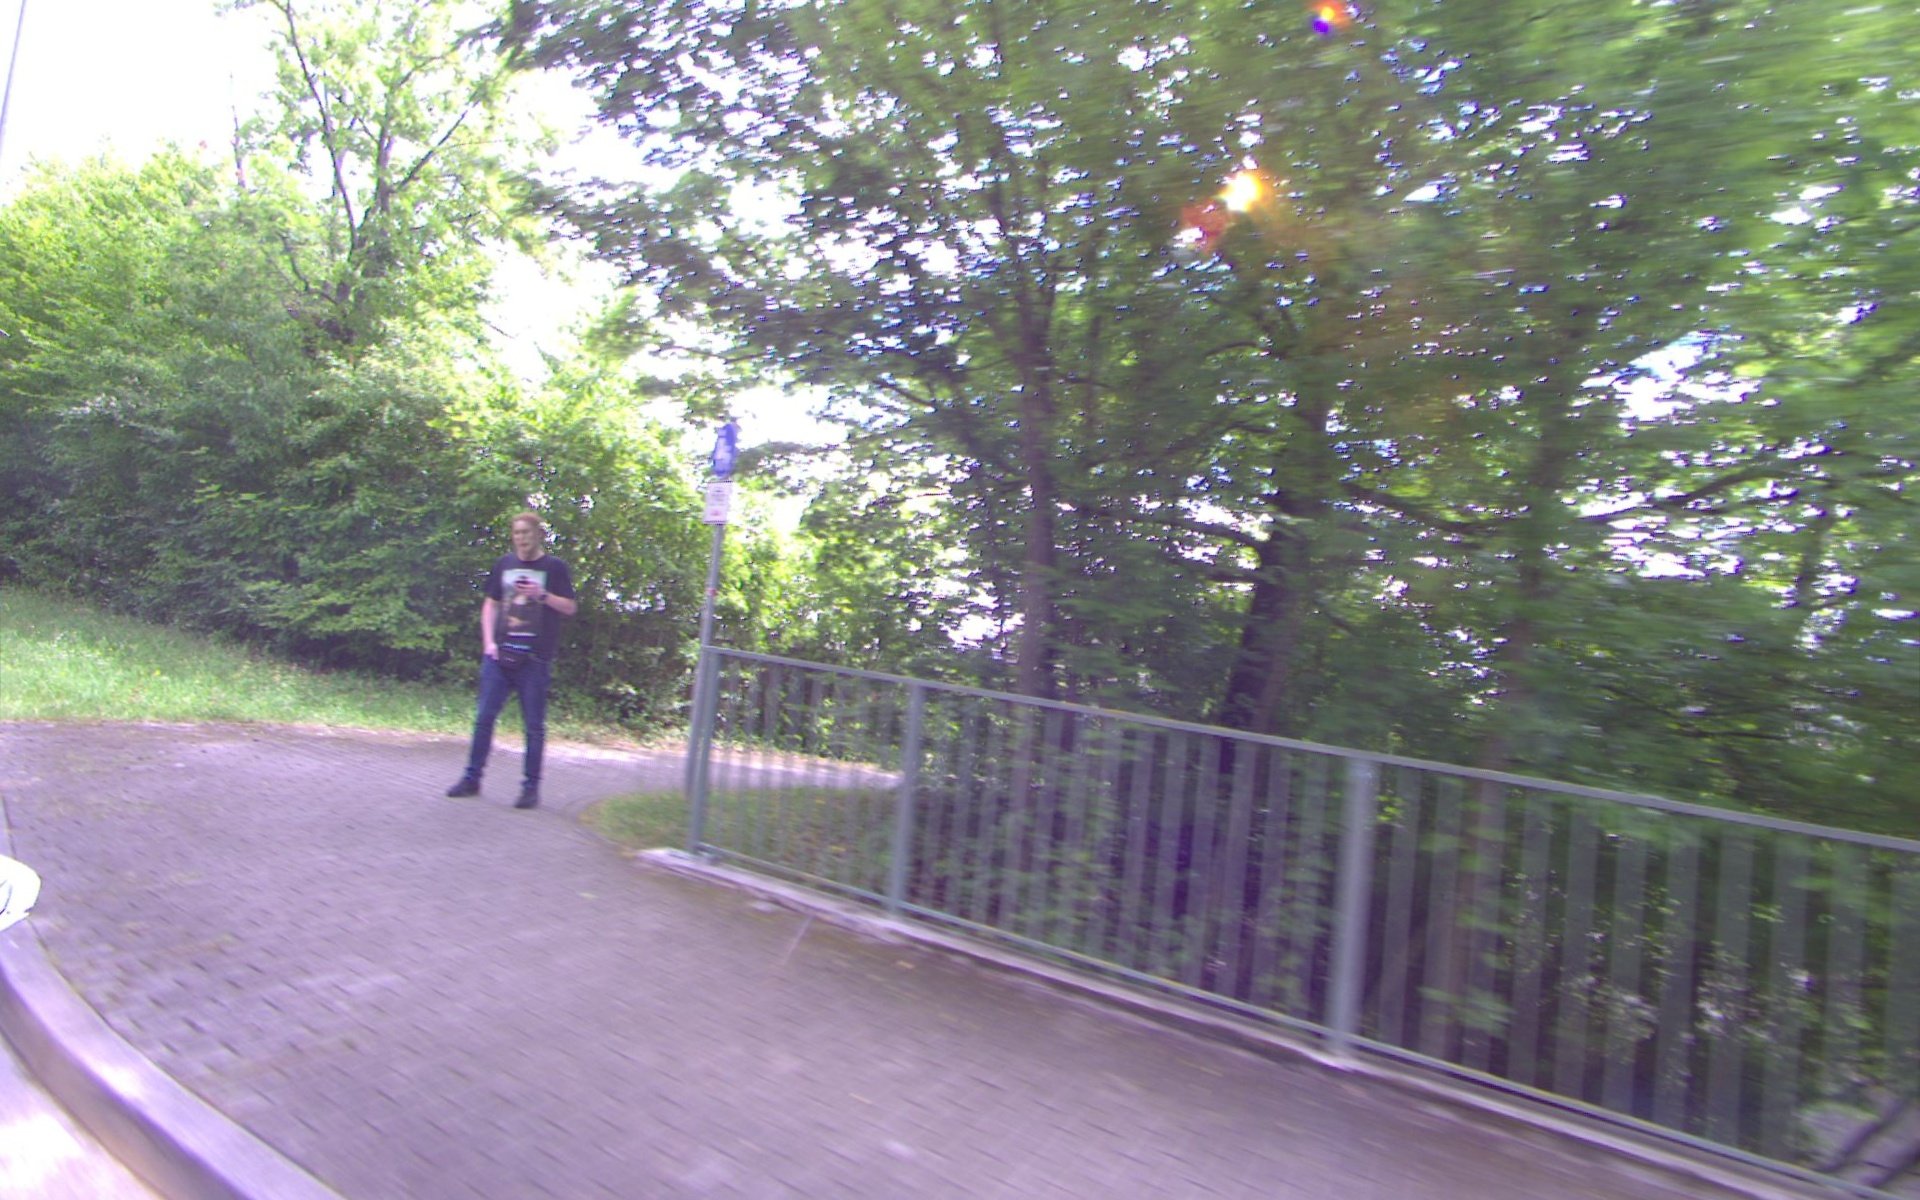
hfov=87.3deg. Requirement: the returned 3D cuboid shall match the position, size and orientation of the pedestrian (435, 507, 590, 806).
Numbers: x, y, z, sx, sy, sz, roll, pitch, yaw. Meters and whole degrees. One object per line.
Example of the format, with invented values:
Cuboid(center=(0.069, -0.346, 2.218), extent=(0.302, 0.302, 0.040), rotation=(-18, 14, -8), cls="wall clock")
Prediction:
Cuboid(center=(-2.905, 0.357, 6.510), extent=(0.584, 1.804, 0.676), rotation=(8, -2, -36), cls="pedestrian")
